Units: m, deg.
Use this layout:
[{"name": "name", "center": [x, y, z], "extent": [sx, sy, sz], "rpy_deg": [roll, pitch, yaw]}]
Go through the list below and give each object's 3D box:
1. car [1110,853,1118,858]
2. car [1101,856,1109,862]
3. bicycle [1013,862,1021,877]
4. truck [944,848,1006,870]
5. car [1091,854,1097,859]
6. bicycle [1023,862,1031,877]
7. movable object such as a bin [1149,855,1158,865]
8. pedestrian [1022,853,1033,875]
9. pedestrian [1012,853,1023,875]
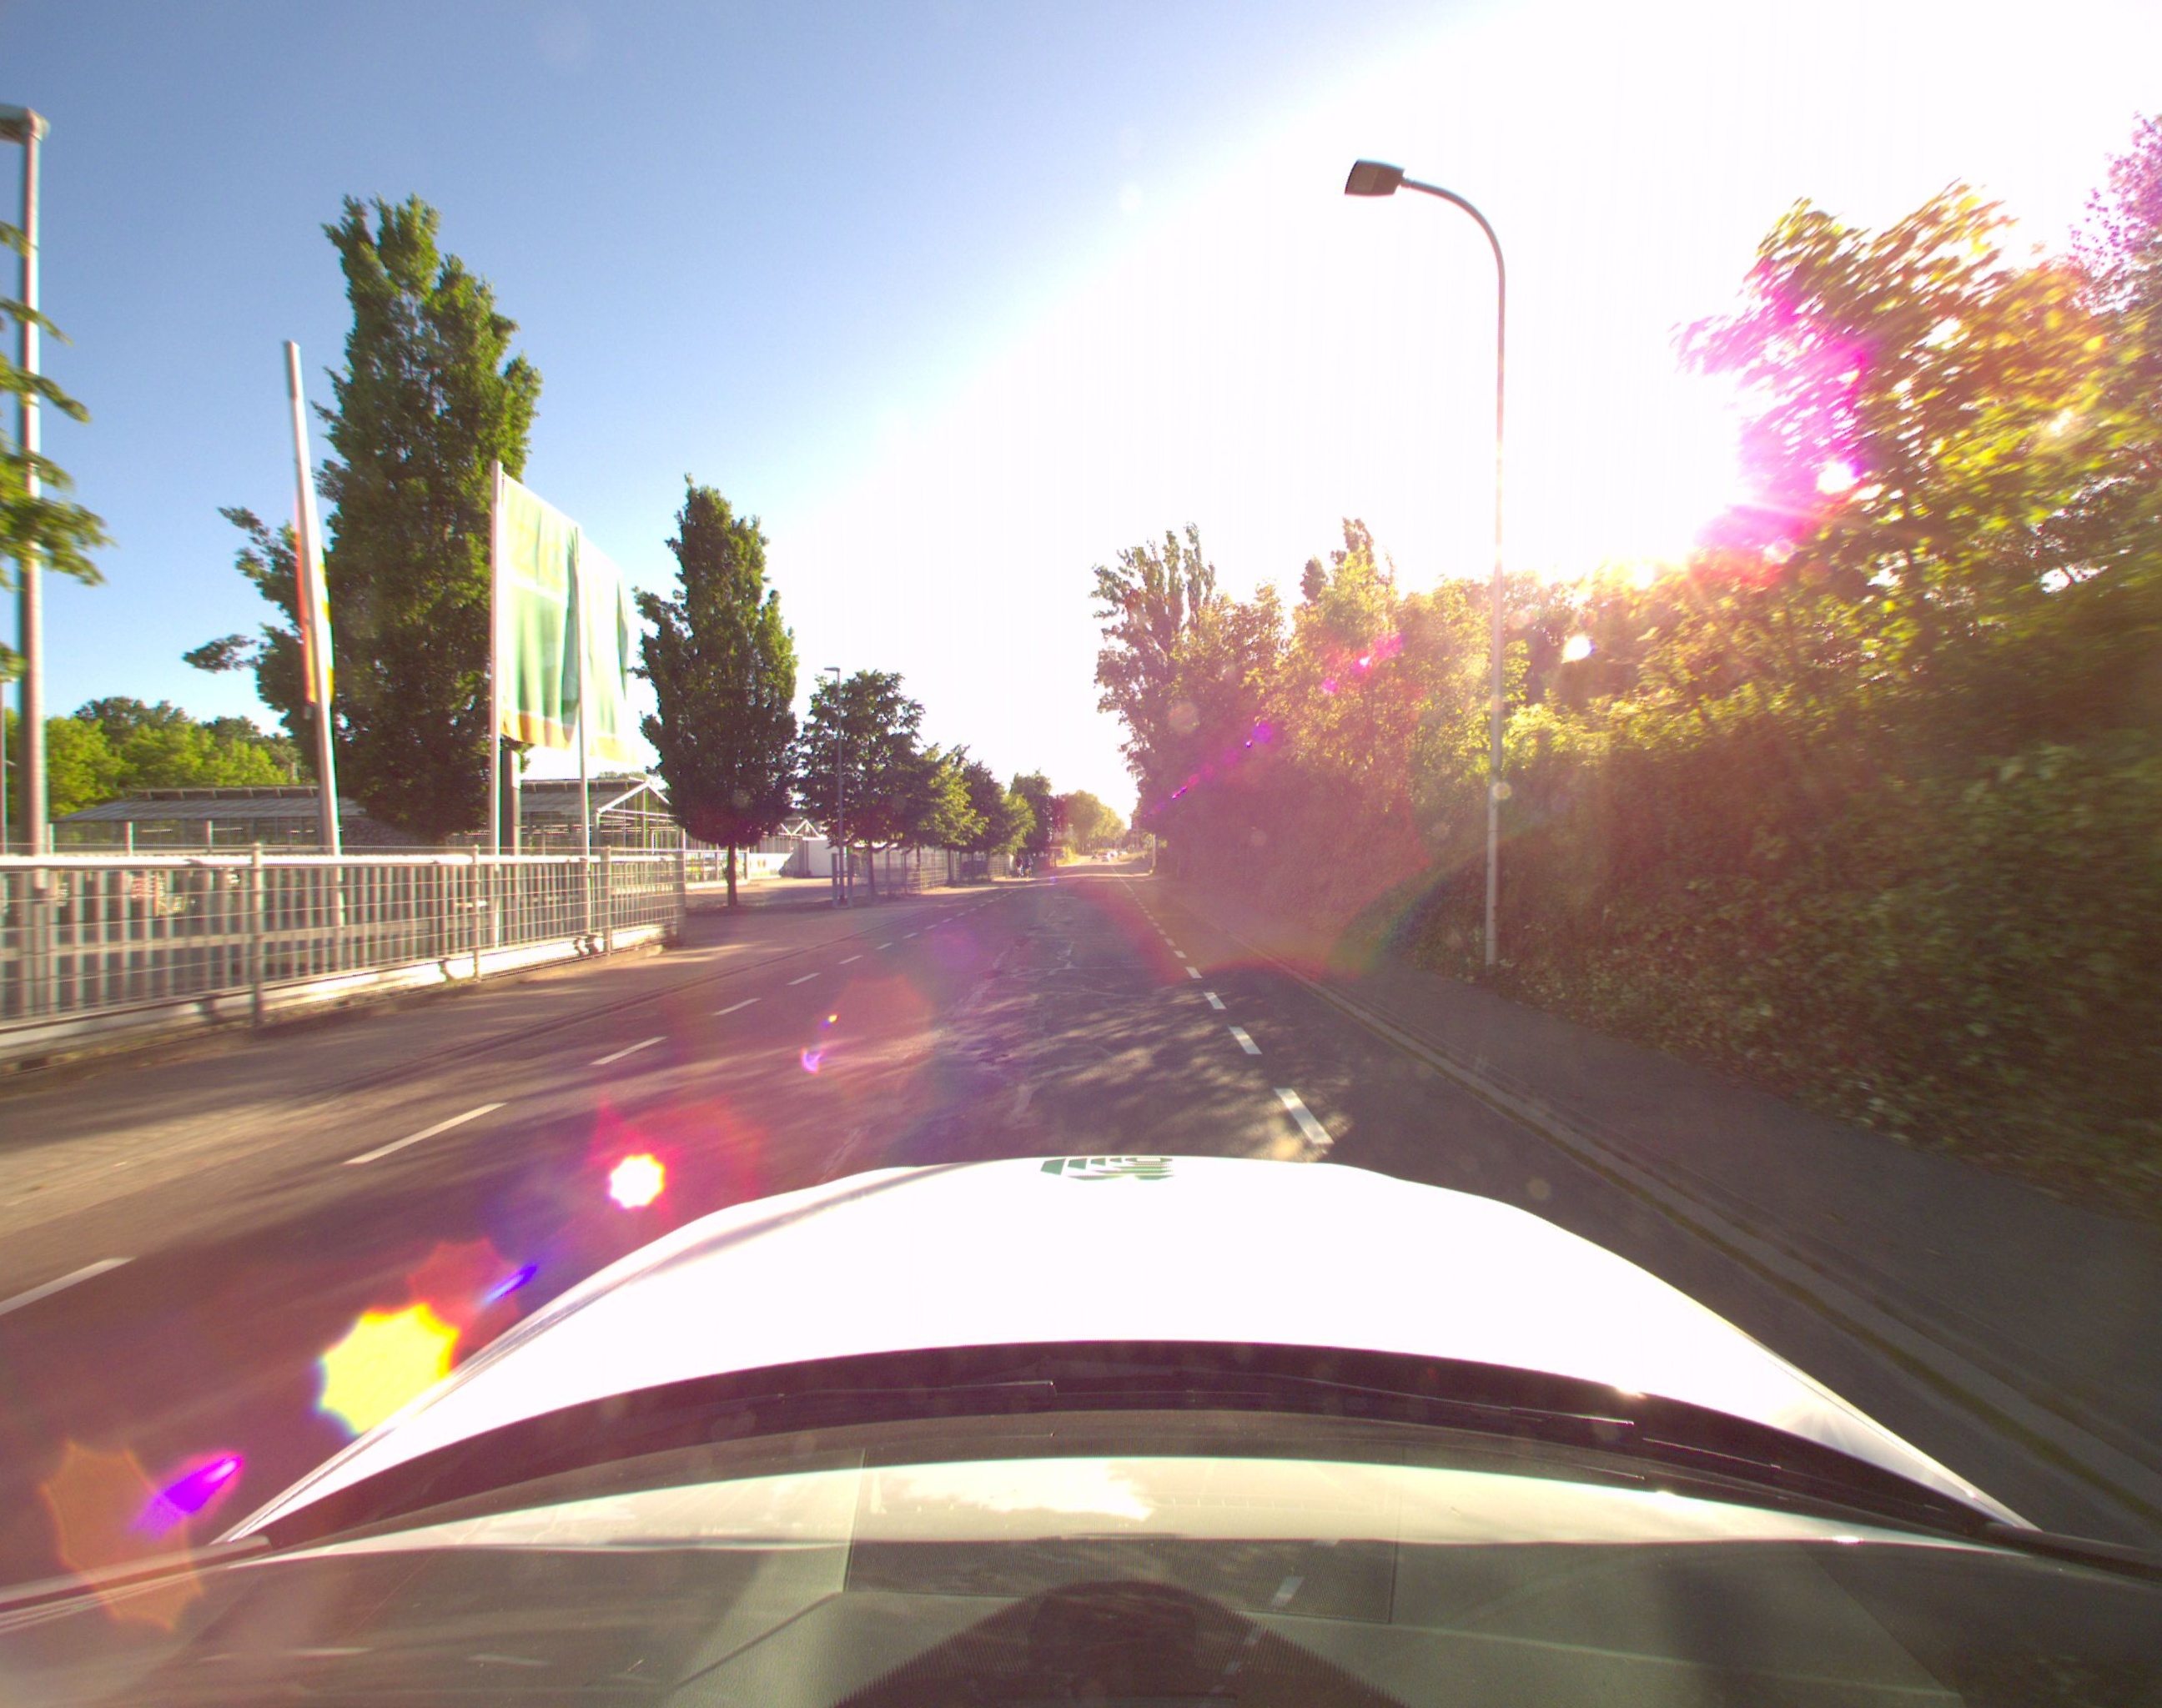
[{"name": "car", "center": [10.356, 0.530, 257.162], "extent": [2.157, 1.684, 3.999], "rpy_deg": [-1, 0, 0]}, {"name": "car", "center": [5.730, 1.200, 197.245], "extent": [1.782, 1.420, 4.004], "rpy_deg": [0, 0, 3]}, {"name": "bicycle", "center": [-5.101, 1.250, 65.028], "extent": [0.468, 1.148, 1.870], "rpy_deg": [1, 0, 2]}, {"name": "truck", "center": [-17.977, 0.828, 138.229], "extent": [10.064, 3.615, 2.775], "rpy_deg": [0, -1, 0]}, {"name": "car", "center": [3.871, 0.718, 240.538], "extent": [1.735, 1.526, 4.110], "rpy_deg": [-1, 0, 0]}, {"name": "bicycle", "center": [-4.293, 1.218, 64.963], "extent": [0.444, 1.148, 2.202], "rpy_deg": [1, 0, 2]}, {"name": "movable object such as a bin", "center": [10.380, 0.842, 116.901], "extent": [1.124, 1.372, 1.345], "rpy_deg": [-1, 0, 0]}, {"name": "pedestrian", "center": [-4.263, 0.797, 65.071], "extent": [0.718, 1.721, 1.057], "rpy_deg": [-1, -1, 1]}, {"name": "pedestrian", "center": [-5.090, 0.770, 65.326], "extent": [0.718, 1.721, 1.057], "rpy_deg": [-1, -1, 1]}]
